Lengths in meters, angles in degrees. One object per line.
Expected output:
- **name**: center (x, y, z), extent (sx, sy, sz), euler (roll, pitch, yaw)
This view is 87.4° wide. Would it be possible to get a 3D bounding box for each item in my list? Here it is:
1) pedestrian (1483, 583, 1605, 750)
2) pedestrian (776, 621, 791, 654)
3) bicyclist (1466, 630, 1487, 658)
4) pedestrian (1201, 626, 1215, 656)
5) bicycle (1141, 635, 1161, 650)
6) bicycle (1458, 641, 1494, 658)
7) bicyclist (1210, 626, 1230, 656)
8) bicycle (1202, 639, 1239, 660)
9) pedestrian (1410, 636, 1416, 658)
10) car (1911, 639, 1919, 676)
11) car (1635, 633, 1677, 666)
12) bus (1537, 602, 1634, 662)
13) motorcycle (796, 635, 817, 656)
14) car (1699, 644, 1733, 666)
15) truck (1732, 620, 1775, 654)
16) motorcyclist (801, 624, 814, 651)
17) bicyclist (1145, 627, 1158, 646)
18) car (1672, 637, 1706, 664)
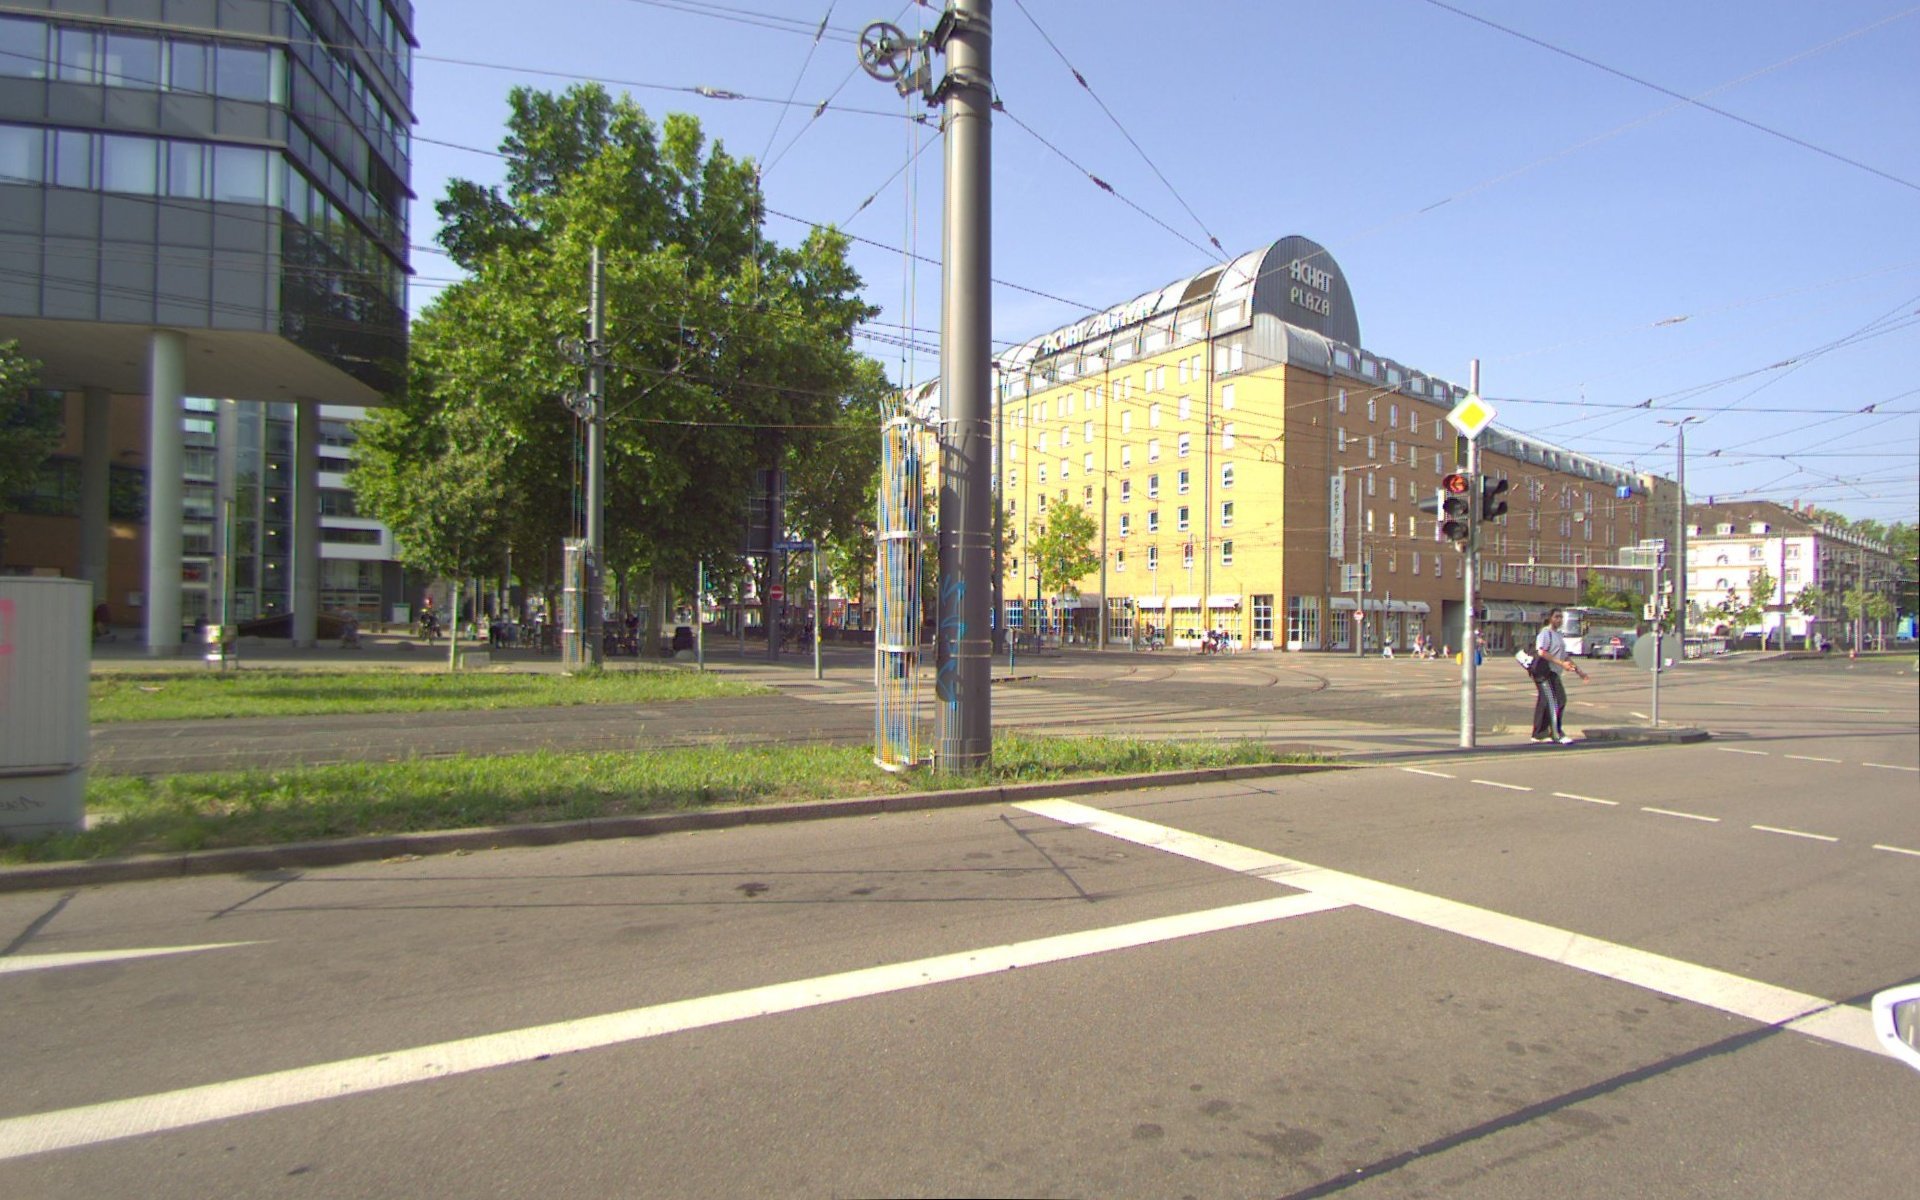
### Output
- **pedestrian**: center (7.534, 0.838, 12.973), extent (0.770, 2.040, 1.146), euler (3, -2, -39)
- **pedestrian**: center (-9.276, 1.976, 52.803), extent (0.504, 1.748, 0.527), euler (3, -2, -36)
- **bicyclist**: center (32.020, 2.727, 62.295), extent (0.666, 1.718, 0.977), euler (3, -2, -43)
- **pedestrian**: center (16.450, 2.699, 66.697), extent (0.735, 1.978, 0.883), euler (0, -1, 23)
- **bicycle**: center (11.938, 2.657, 62.782), extent (1.381, 0.883, 0.344), euler (3, -2, -31)
- **bicycle**: center (31.984, 3.094, 62.322), extent (0.417, 0.982, 1.941), euler (3, -2, -43)
- **bicyclist**: center (15.928, 2.495, 61.575), extent (0.952, 1.769, 0.664), euler (2, -2, -16)
- **bicycle**: center (15.980, 3.053, 61.589), extent (2.250, 1.222, 0.548), euler (3, -2, -17)
- **pedestrian**: center (30.499, 3.161, 67.615), extent (0.362, 1.503, 0.431), euler (1, -2, 21)
- **car**: center (40.290, 2.338, 39.355), extent (4.137, 1.506, 2.001), euler (2, -2, 2)
- **car**: center (45.149, 3.223, 65.122), extent (2.708, 2.040, 1.588), euler (4, -2, -40)
- **bus**: center (46.348, 2.450, 74.138), extent (12.126, 3.972, 2.722), euler (4, -3, -42)
- **motorcycle**: center (-7.657, 2.256, 50.147), extent (0.281, 1.008, 1.678), euler (3, -2, -35)
- **car**: center (54.871, 4.029, 72.919), extent (2.720, 1.500, 1.379), euler (4, -2, -39)
- **truck**: center (66.647, 3.131, 84.293), extent (4.703, 2.632, 1.976), euler (4, -2, -41)
- **motorcyclist**: center (-7.634, 1.874, 50.146), extent (0.414, 1.339, 0.527), euler (3, -2, -35)
- **bicyclist**: center (11.966, 2.269, 62.803), extent (0.603, 1.144, 0.519), euler (3, -2, -30)
- **car**: center (50.275, 3.469, 69.273), extent (2.585, 1.783, 1.200), euler (3, -2, -37)
